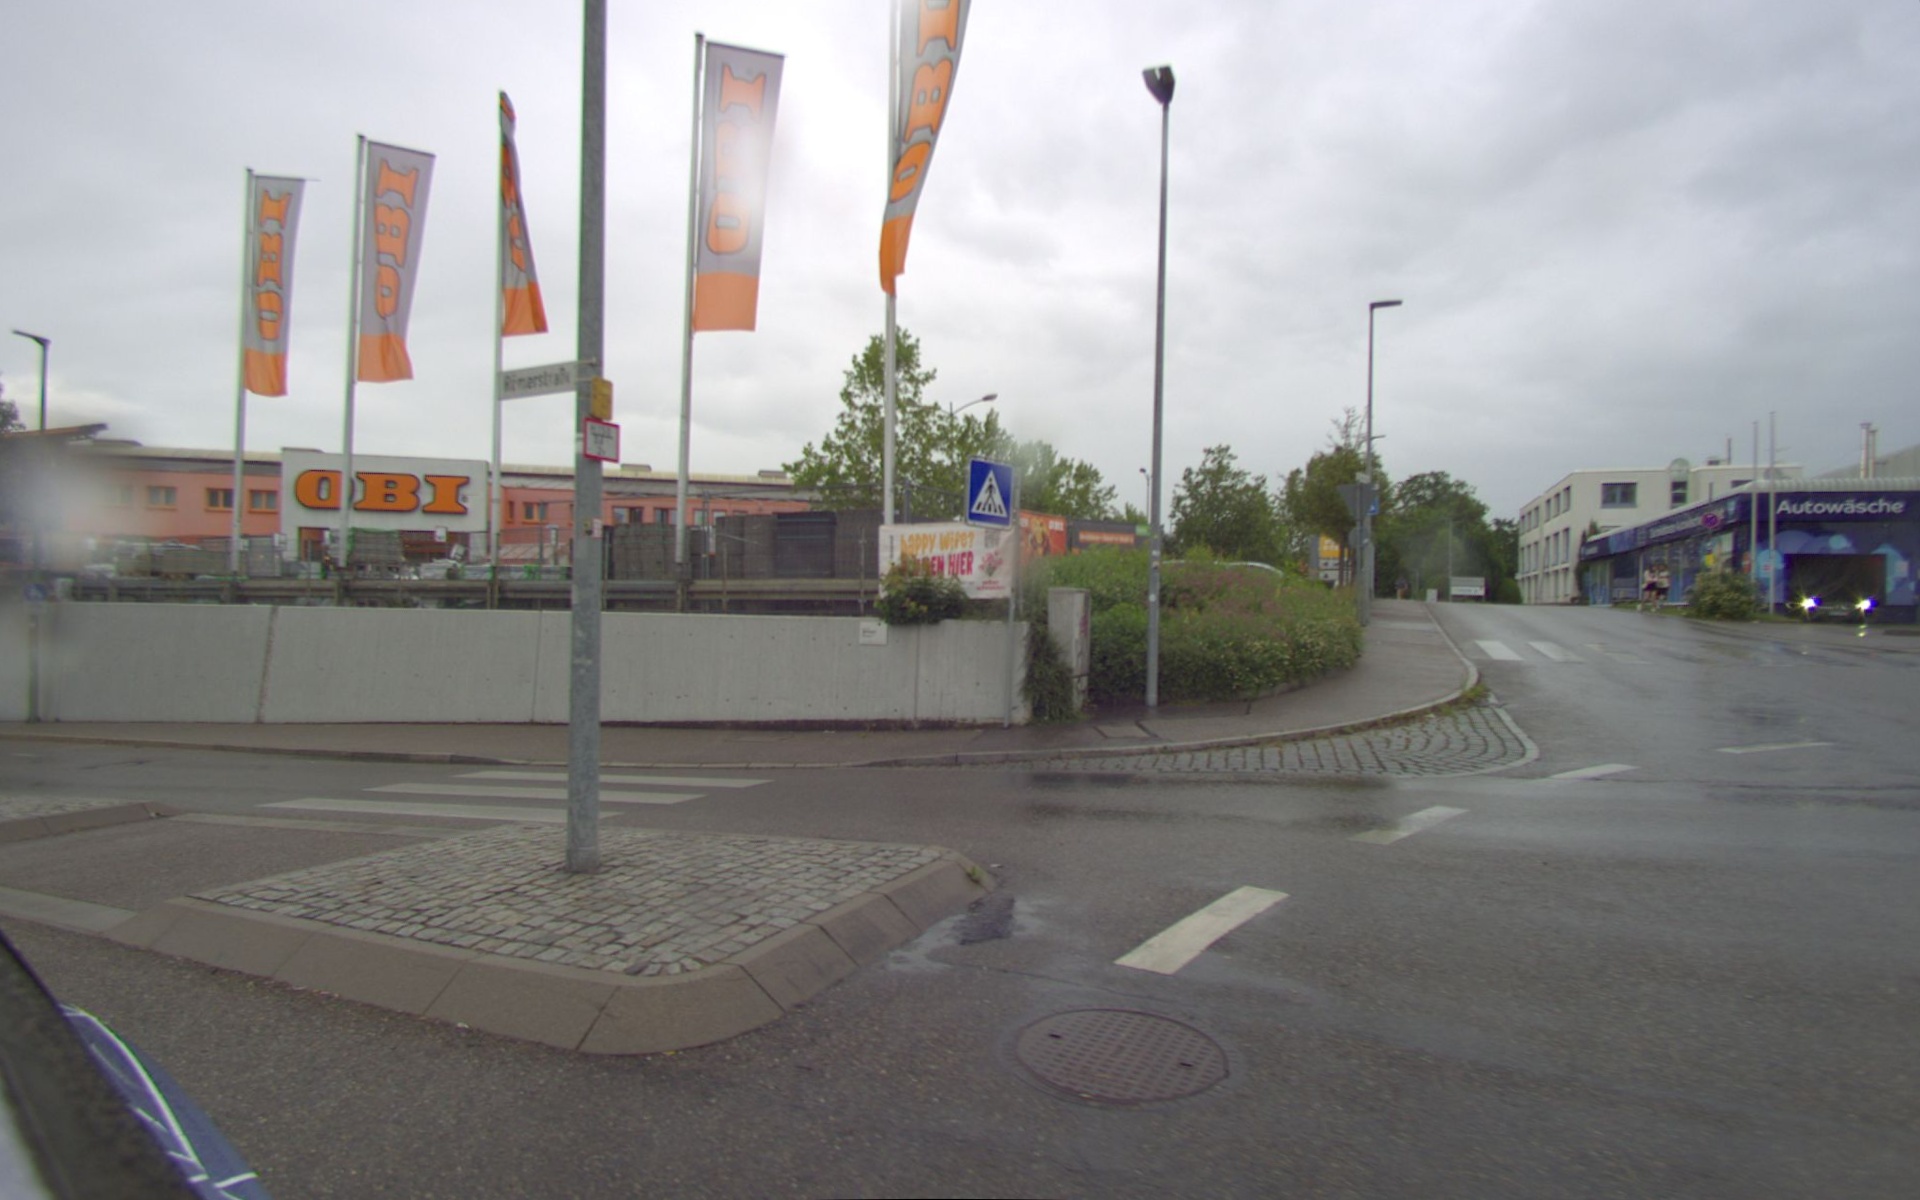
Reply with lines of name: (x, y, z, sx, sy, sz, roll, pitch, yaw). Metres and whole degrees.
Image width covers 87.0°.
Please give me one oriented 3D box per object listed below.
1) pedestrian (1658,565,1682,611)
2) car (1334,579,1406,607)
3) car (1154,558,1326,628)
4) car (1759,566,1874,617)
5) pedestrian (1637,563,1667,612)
pedestrian: (23.166, -0.399, 33.008, 0.464, 1.475, 0.543, -3, 1, 23)
car: (24.827, -0.410, 61.232, 3.976, 1.608, 1.983, 0, -1, 25)
car: (7.386, -0.144, 26.731, 4.086, 1.719, 1.981, -1, -1, 28)
car: (28.381, -0.260, 33.689, 1.911, 1.541, 3.965, -2, -1, 26)
pedestrian: (22.645, -0.412, 33.133, 0.601, 1.542, 0.769, -3, 1, 23)
